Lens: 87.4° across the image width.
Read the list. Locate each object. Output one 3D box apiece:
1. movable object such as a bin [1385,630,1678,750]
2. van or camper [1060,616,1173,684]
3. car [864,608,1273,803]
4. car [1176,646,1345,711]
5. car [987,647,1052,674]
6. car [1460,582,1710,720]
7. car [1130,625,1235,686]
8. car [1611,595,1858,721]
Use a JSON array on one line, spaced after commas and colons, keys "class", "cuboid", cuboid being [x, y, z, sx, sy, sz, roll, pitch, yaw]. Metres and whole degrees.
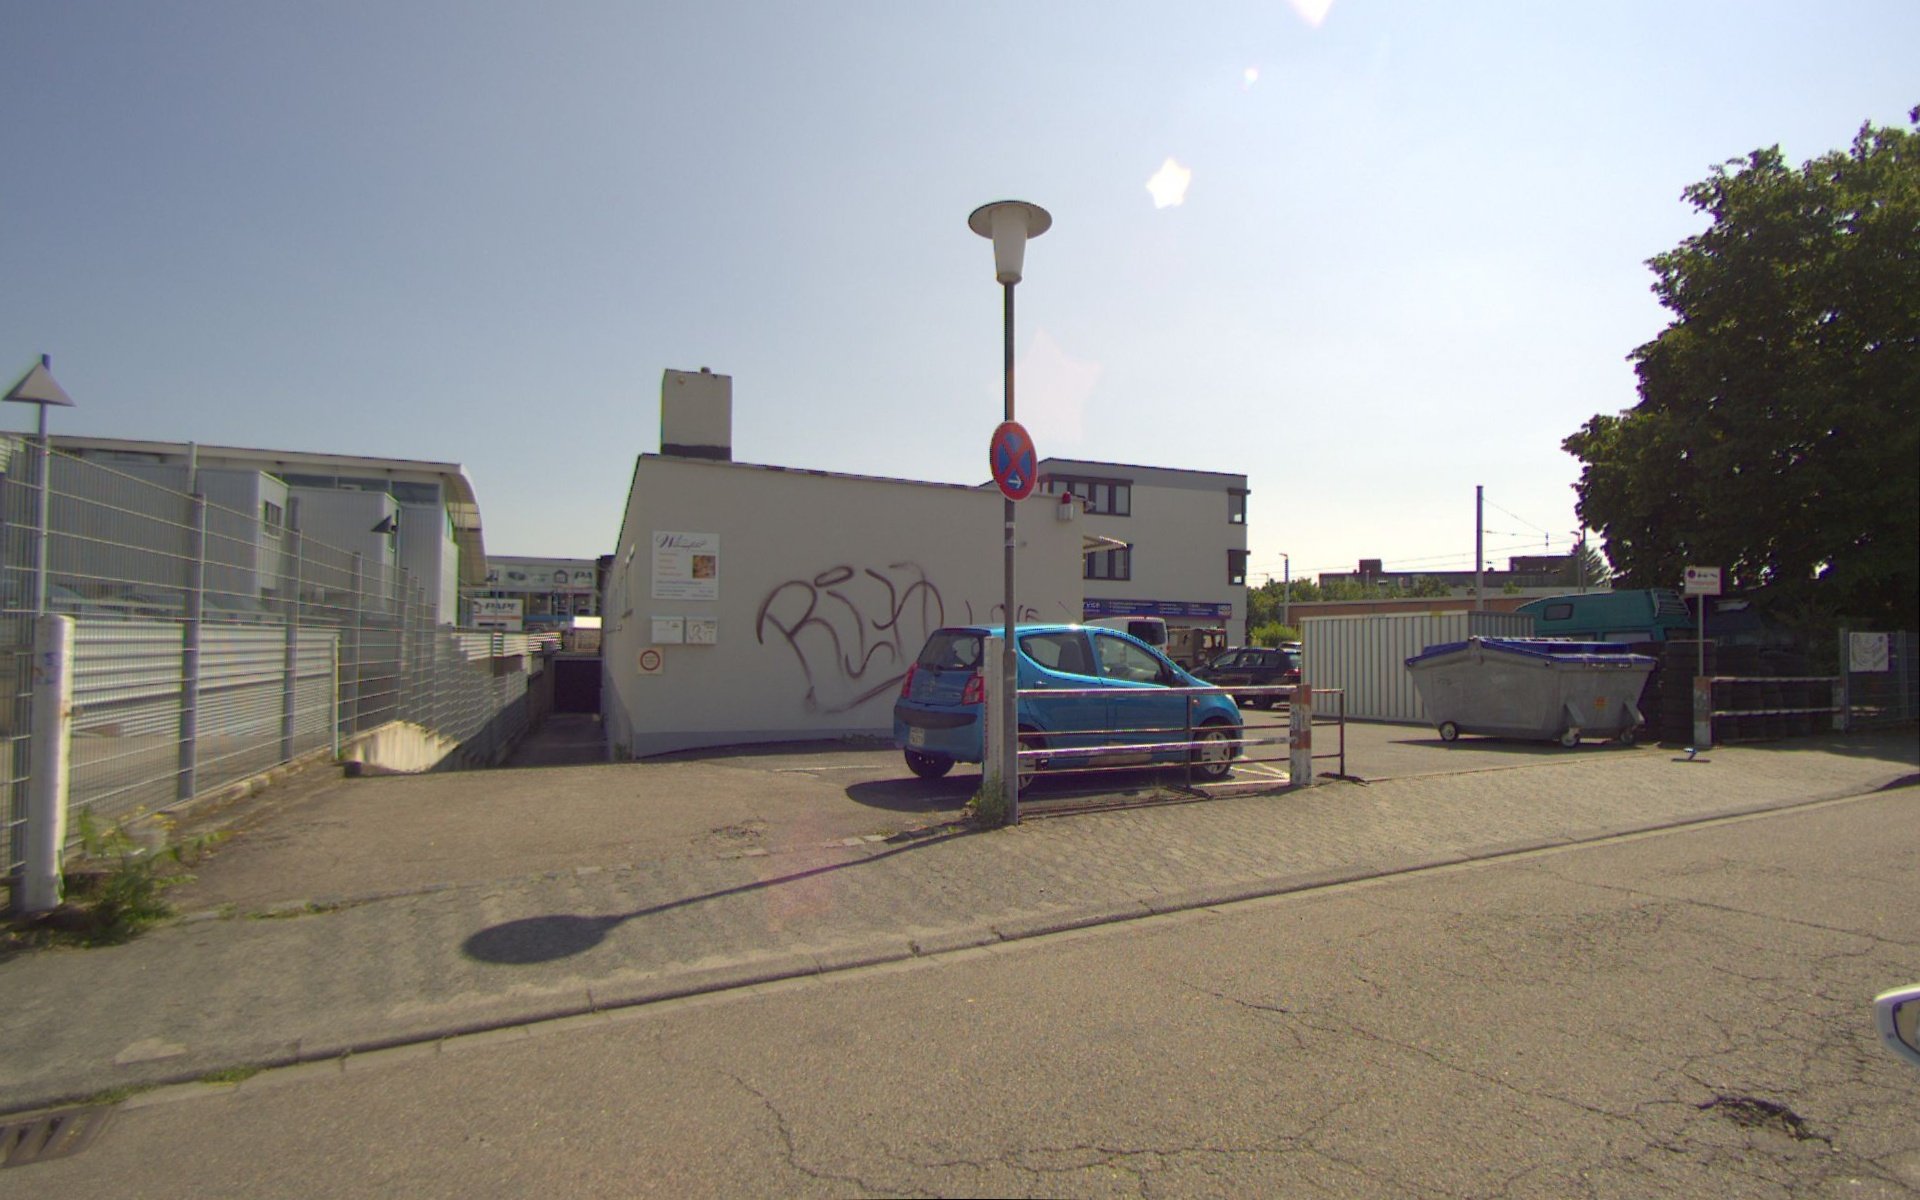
[{"class": "movable object such as a bin", "cuboid": [8.163, 1.234, 14.516, 2.691, 1.530, 2.620, 2, -3, -24]}, {"class": "van or camper", "cuboid": [5.710, 1.851, 37.312, 2.090, 2.354, 4.771, 1, -3, -20]}, {"class": "car", "cuboid": [1.099, 0.942, 9.757, 3.635, 1.550, 1.805, 2, -3, -32]}, {"class": "car", "cuboid": [7.365, 1.898, 25.041, 1.730, 1.474, 4.130, 2, -3, -26]}, {"class": "car", "cuboid": [2.793, 2.868, 47.921, 1.661, 1.235, 3.949, 1, -3, -20]}, {"class": "car", "cuboid": [12.762, 1.012, 20.767, 1.757, 2.546, 4.064, 2, -2, -31]}, {"class": "car", "cuboid": [8.370, 2.117, 38.062, 1.971, 2.173, 3.979, 2, -3, -23]}, {"class": "car", "cuboid": [17.228, 1.244, 22.549, 1.757, 2.546, 4.064, 2, -2, -31]}]
